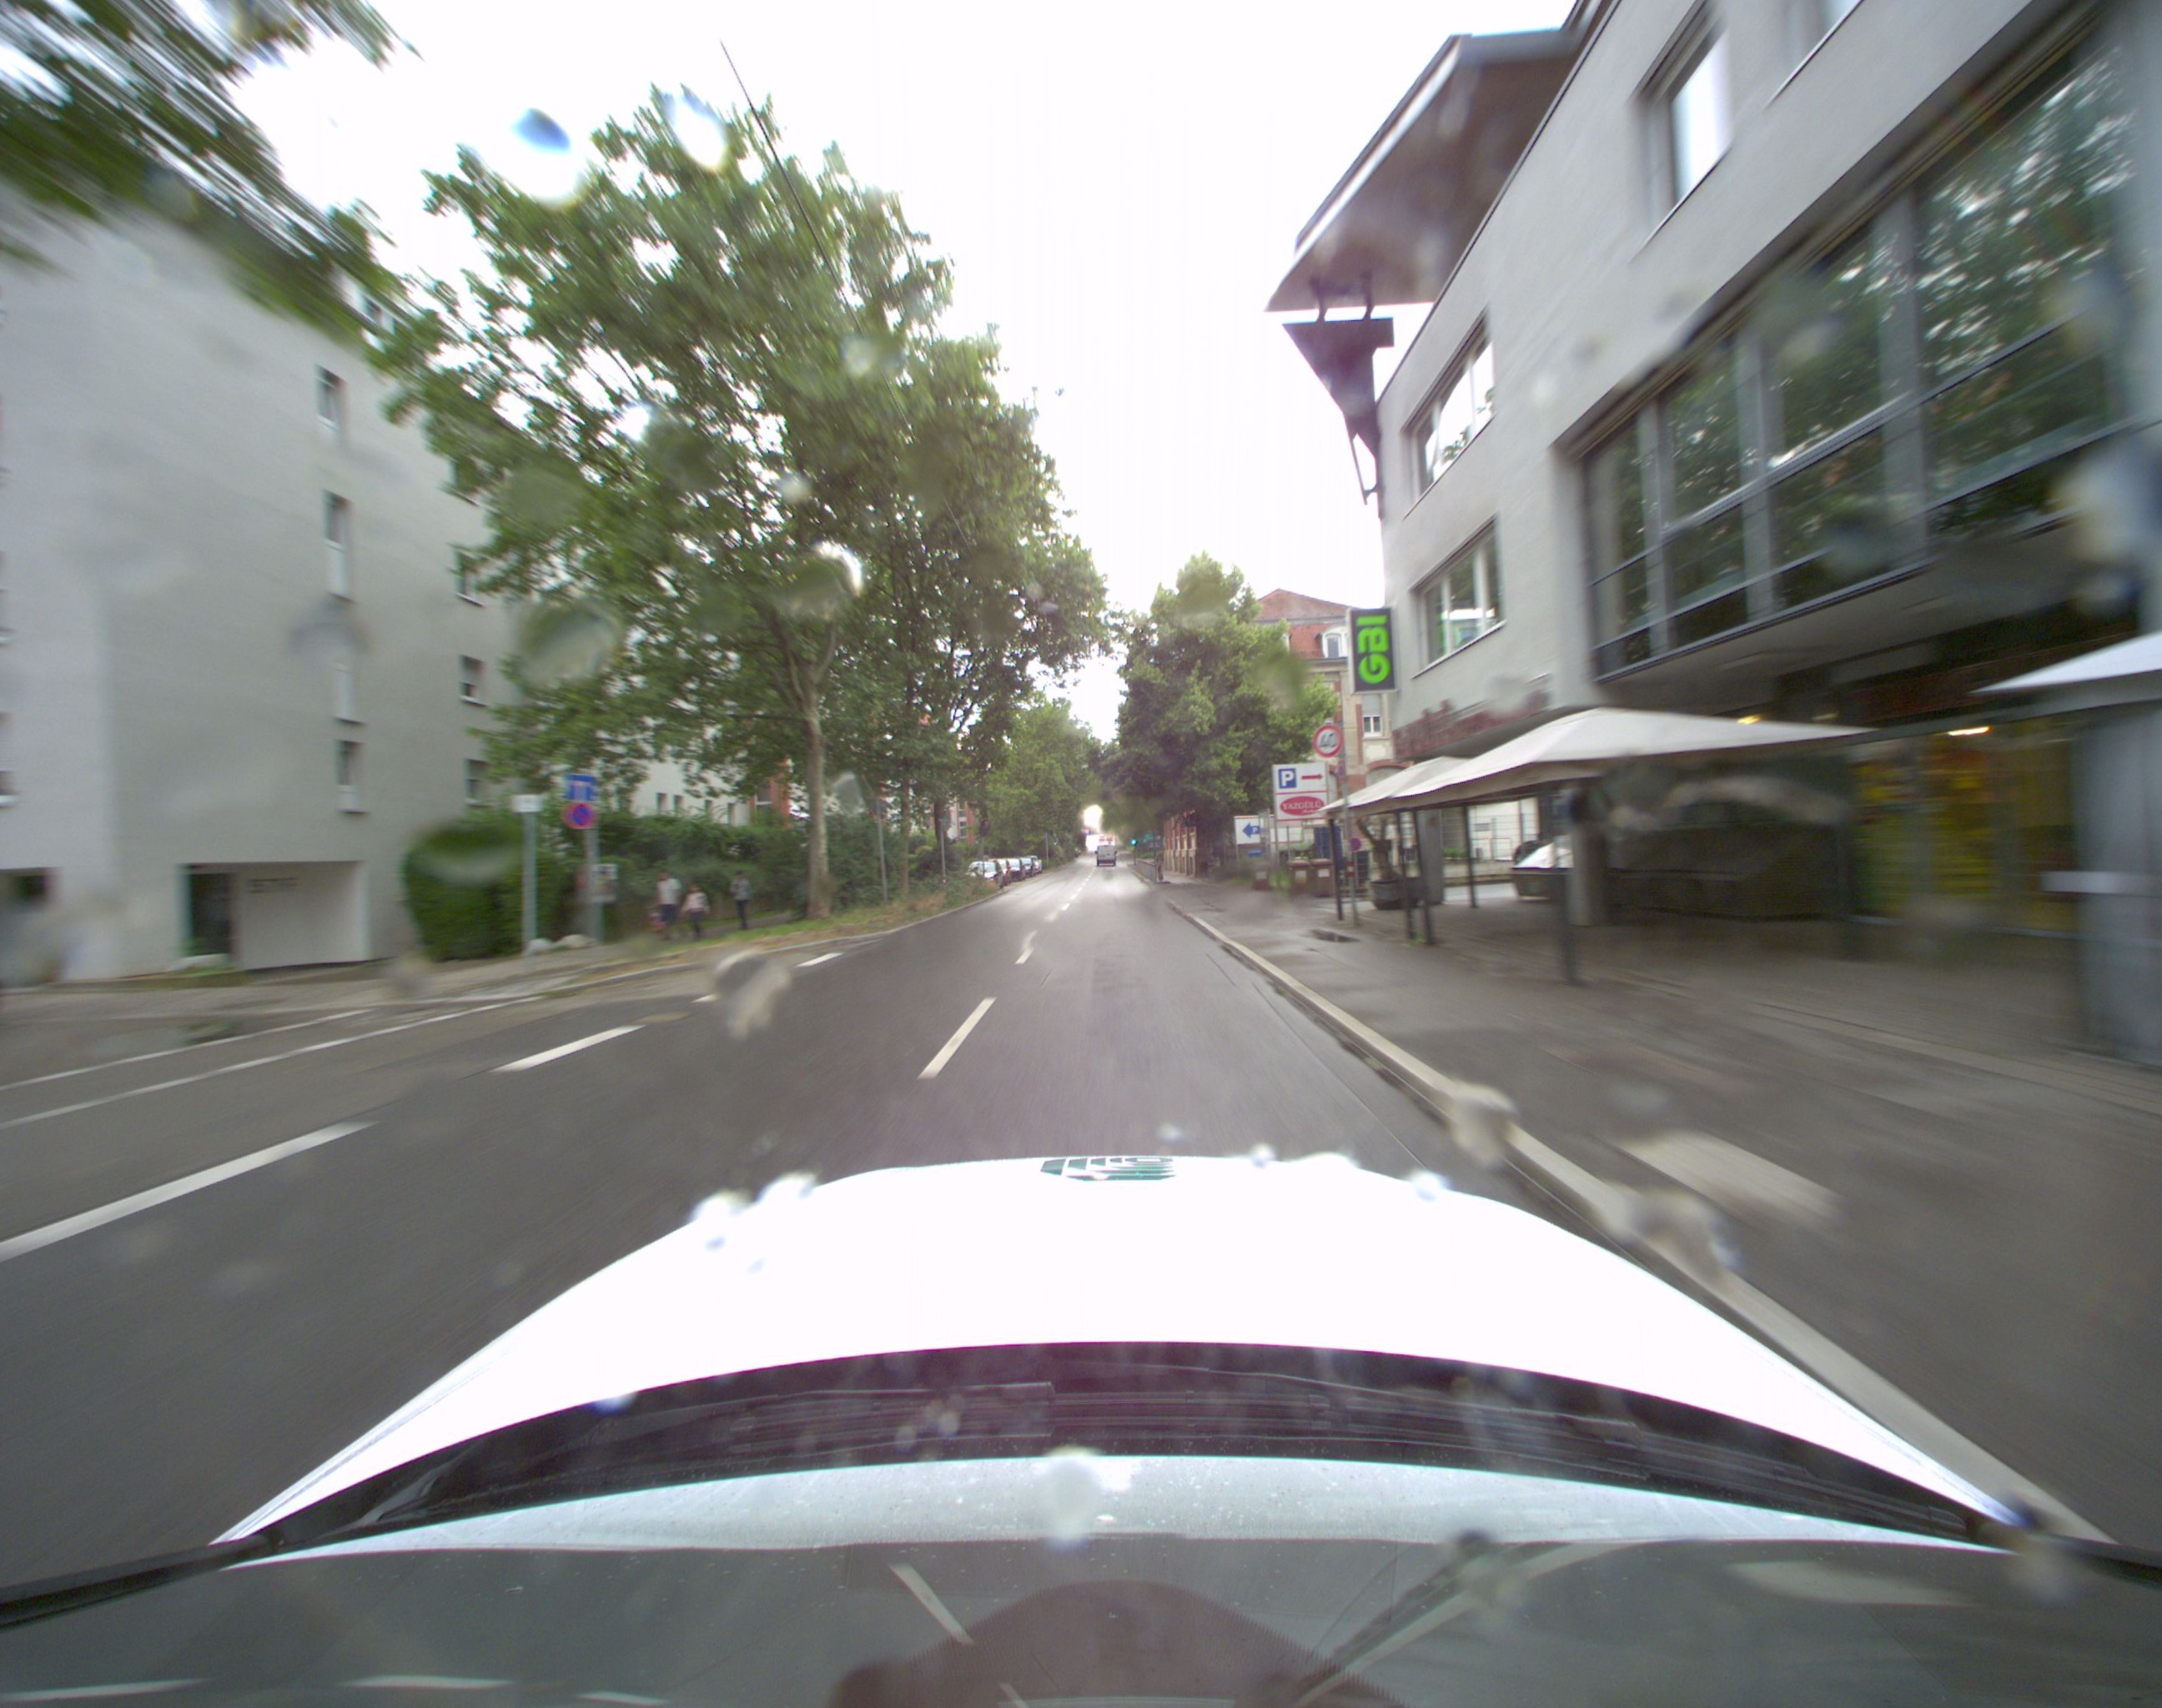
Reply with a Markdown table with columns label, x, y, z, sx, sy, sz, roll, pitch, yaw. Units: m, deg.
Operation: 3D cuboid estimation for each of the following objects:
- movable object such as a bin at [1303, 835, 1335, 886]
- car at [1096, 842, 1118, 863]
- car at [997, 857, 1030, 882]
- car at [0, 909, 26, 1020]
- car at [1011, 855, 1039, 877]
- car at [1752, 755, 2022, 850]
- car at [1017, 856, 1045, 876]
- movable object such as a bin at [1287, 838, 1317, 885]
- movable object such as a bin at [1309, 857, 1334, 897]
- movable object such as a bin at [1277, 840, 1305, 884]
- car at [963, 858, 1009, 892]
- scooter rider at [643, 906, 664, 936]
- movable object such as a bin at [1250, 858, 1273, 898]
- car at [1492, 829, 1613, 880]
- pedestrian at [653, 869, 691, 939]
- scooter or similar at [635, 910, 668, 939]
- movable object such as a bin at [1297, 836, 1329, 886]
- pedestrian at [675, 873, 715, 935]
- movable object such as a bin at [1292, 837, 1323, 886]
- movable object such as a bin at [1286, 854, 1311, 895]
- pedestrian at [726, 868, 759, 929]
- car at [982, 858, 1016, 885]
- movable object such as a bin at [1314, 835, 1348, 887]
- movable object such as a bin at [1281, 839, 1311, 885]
| label | x | y | z | sx | sy | sz | roll | pitch | yaw |
| --- | --- | --- | --- | --- | --- | --- | --- | --- | --- |
| movable object such as a bin | 7.362 | 0.199 | 25.214 | 0.735 | 1.508 | 0.625 | -4 | 0 | -2 |
| car | 2.789 | -0.139 | 86.734 | 2.327 | 2.231 | 4.002 | -1 | -1 | 2 |
| car | -4.326 | 0.993 | 52.579 | 1.711 | 1.467 | 3.756 | -2 | 0 | 0 |
| car | -16.621 | 1.585 | 10.496 | 3.965 | 1.477 | 1.911 | -3 | 0 | 7 |
| car | -4.031 | 0.860 | 58.775 | 1.712 | 1.467 | 4.232 | -2 | 0 | -1 |
| car | 26.958 | -1.578 | 27.604 | 2.145 | 2.700 | 6.139 | 0 | -1 | -29 |
| car | -3.967 | 0.912 | 65.556 | 1.710 | 1.467 | 4.312 | -2 | 0 | 3 |
| movable object such as a bin | 7.359 | 0.262 | 27.153 | 0.735 | 1.508 | 0.625 | -3 | 0 | -2 |
| movable object such as a bin | 6.970 | 0.655 | 23.595 | 0.502 | 1.115 | 0.618 | -3 | 0 | 2 |
| movable object such as a bin | 7.336 | 0.277 | 28.447 | 0.735 | 1.501 | 0.625 | -4 | 0 | -2 |
| car | -4.762 | 1.014 | 41.494 | 1.711 | 1.509 | 4.804 | -2 | 0 | 0 |
| scooter rider | -10.399 | 1.626 | 19.801 | 0.328 | 0.684 | 0.392 | -3 | 0 | -12 |
| movable object such as a bin | 5.232 | 0.685 | 23.656 | 0.502 | 1.115 | 0.618 | -3 | 0 | 2 |
| car | 15.292 | 0.015 | 26.664 | 1.657 | 1.486 | 4.136 | -2 | 0 | 2 |
| pedestrian | -9.904 | 1.196 | 19.749 | 0.538 | 1.630 | 0.591 | -3 | 0 | -1 |
| scooter or similar | -10.399 | 1.701 | 19.753 | 0.371 | 0.595 | 1.053 | -3 | 0 | -10 |
| movable object such as a bin | 7.353 | 0.223 | 25.862 | 0.735 | 1.508 | 0.625 | -4 | 0 | -2 |
| pedestrian | -9.066 | 1.166 | 19.138 | 0.594 | 1.397 | 0.591 | -3 | 0 | -1 |
| movable object such as a bin | 7.379 | 0.243 | 26.506 | 0.735 | 1.508 | 0.625 | -4 | 0 | -2 |
| movable object such as a bin | 6.285 | 0.586 | 23.538 | 0.528 | 1.115 | 0.561 | -3 | 0 | 4 |
| pedestrian | -9.364 | 1.214 | 22.539 | 0.594 | 1.630 | 0.591 | -3 | 0 | -1 |
| car | -4.703 | 0.986 | 47.267 | 1.550 | 1.467 | 3.397 | -2 | 0 | 0 |
| movable object such as a bin | 7.534 | 0.222 | 24.605 | 0.735 | 1.508 | 0.625 | -4 | 0 | -2 |
| movable object such as a bin | 7.334 | 0.256 | 27.811 | 0.735 | 1.508 | 0.625 | -4 | 0 | -2 |
